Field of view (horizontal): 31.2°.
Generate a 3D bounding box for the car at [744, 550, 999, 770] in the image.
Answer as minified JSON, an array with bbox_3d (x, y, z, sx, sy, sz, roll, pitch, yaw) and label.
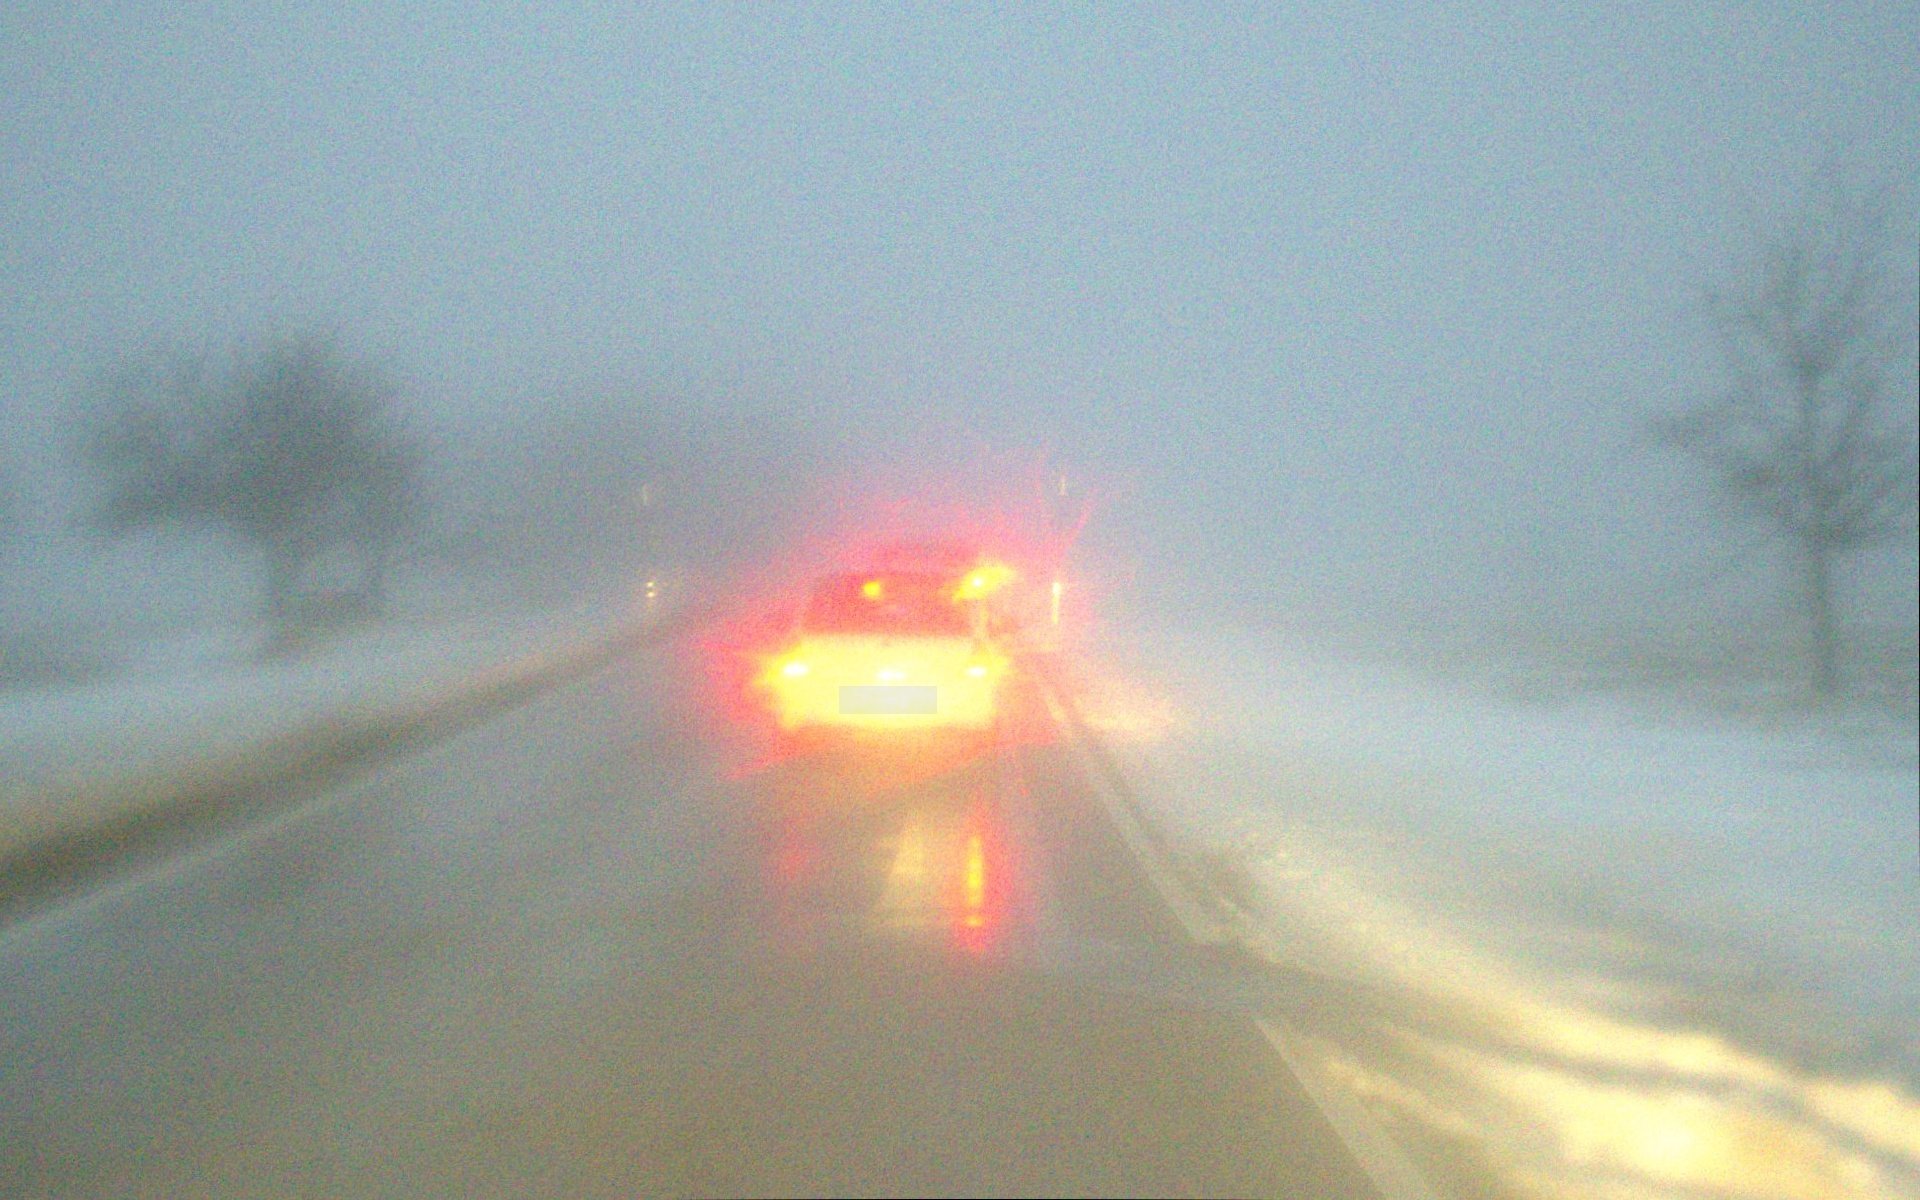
[{"bbox_3d":[-0.691,0.394,25.607,1.706,1.458,4.000,2,0,-2],"label":"car"}]
